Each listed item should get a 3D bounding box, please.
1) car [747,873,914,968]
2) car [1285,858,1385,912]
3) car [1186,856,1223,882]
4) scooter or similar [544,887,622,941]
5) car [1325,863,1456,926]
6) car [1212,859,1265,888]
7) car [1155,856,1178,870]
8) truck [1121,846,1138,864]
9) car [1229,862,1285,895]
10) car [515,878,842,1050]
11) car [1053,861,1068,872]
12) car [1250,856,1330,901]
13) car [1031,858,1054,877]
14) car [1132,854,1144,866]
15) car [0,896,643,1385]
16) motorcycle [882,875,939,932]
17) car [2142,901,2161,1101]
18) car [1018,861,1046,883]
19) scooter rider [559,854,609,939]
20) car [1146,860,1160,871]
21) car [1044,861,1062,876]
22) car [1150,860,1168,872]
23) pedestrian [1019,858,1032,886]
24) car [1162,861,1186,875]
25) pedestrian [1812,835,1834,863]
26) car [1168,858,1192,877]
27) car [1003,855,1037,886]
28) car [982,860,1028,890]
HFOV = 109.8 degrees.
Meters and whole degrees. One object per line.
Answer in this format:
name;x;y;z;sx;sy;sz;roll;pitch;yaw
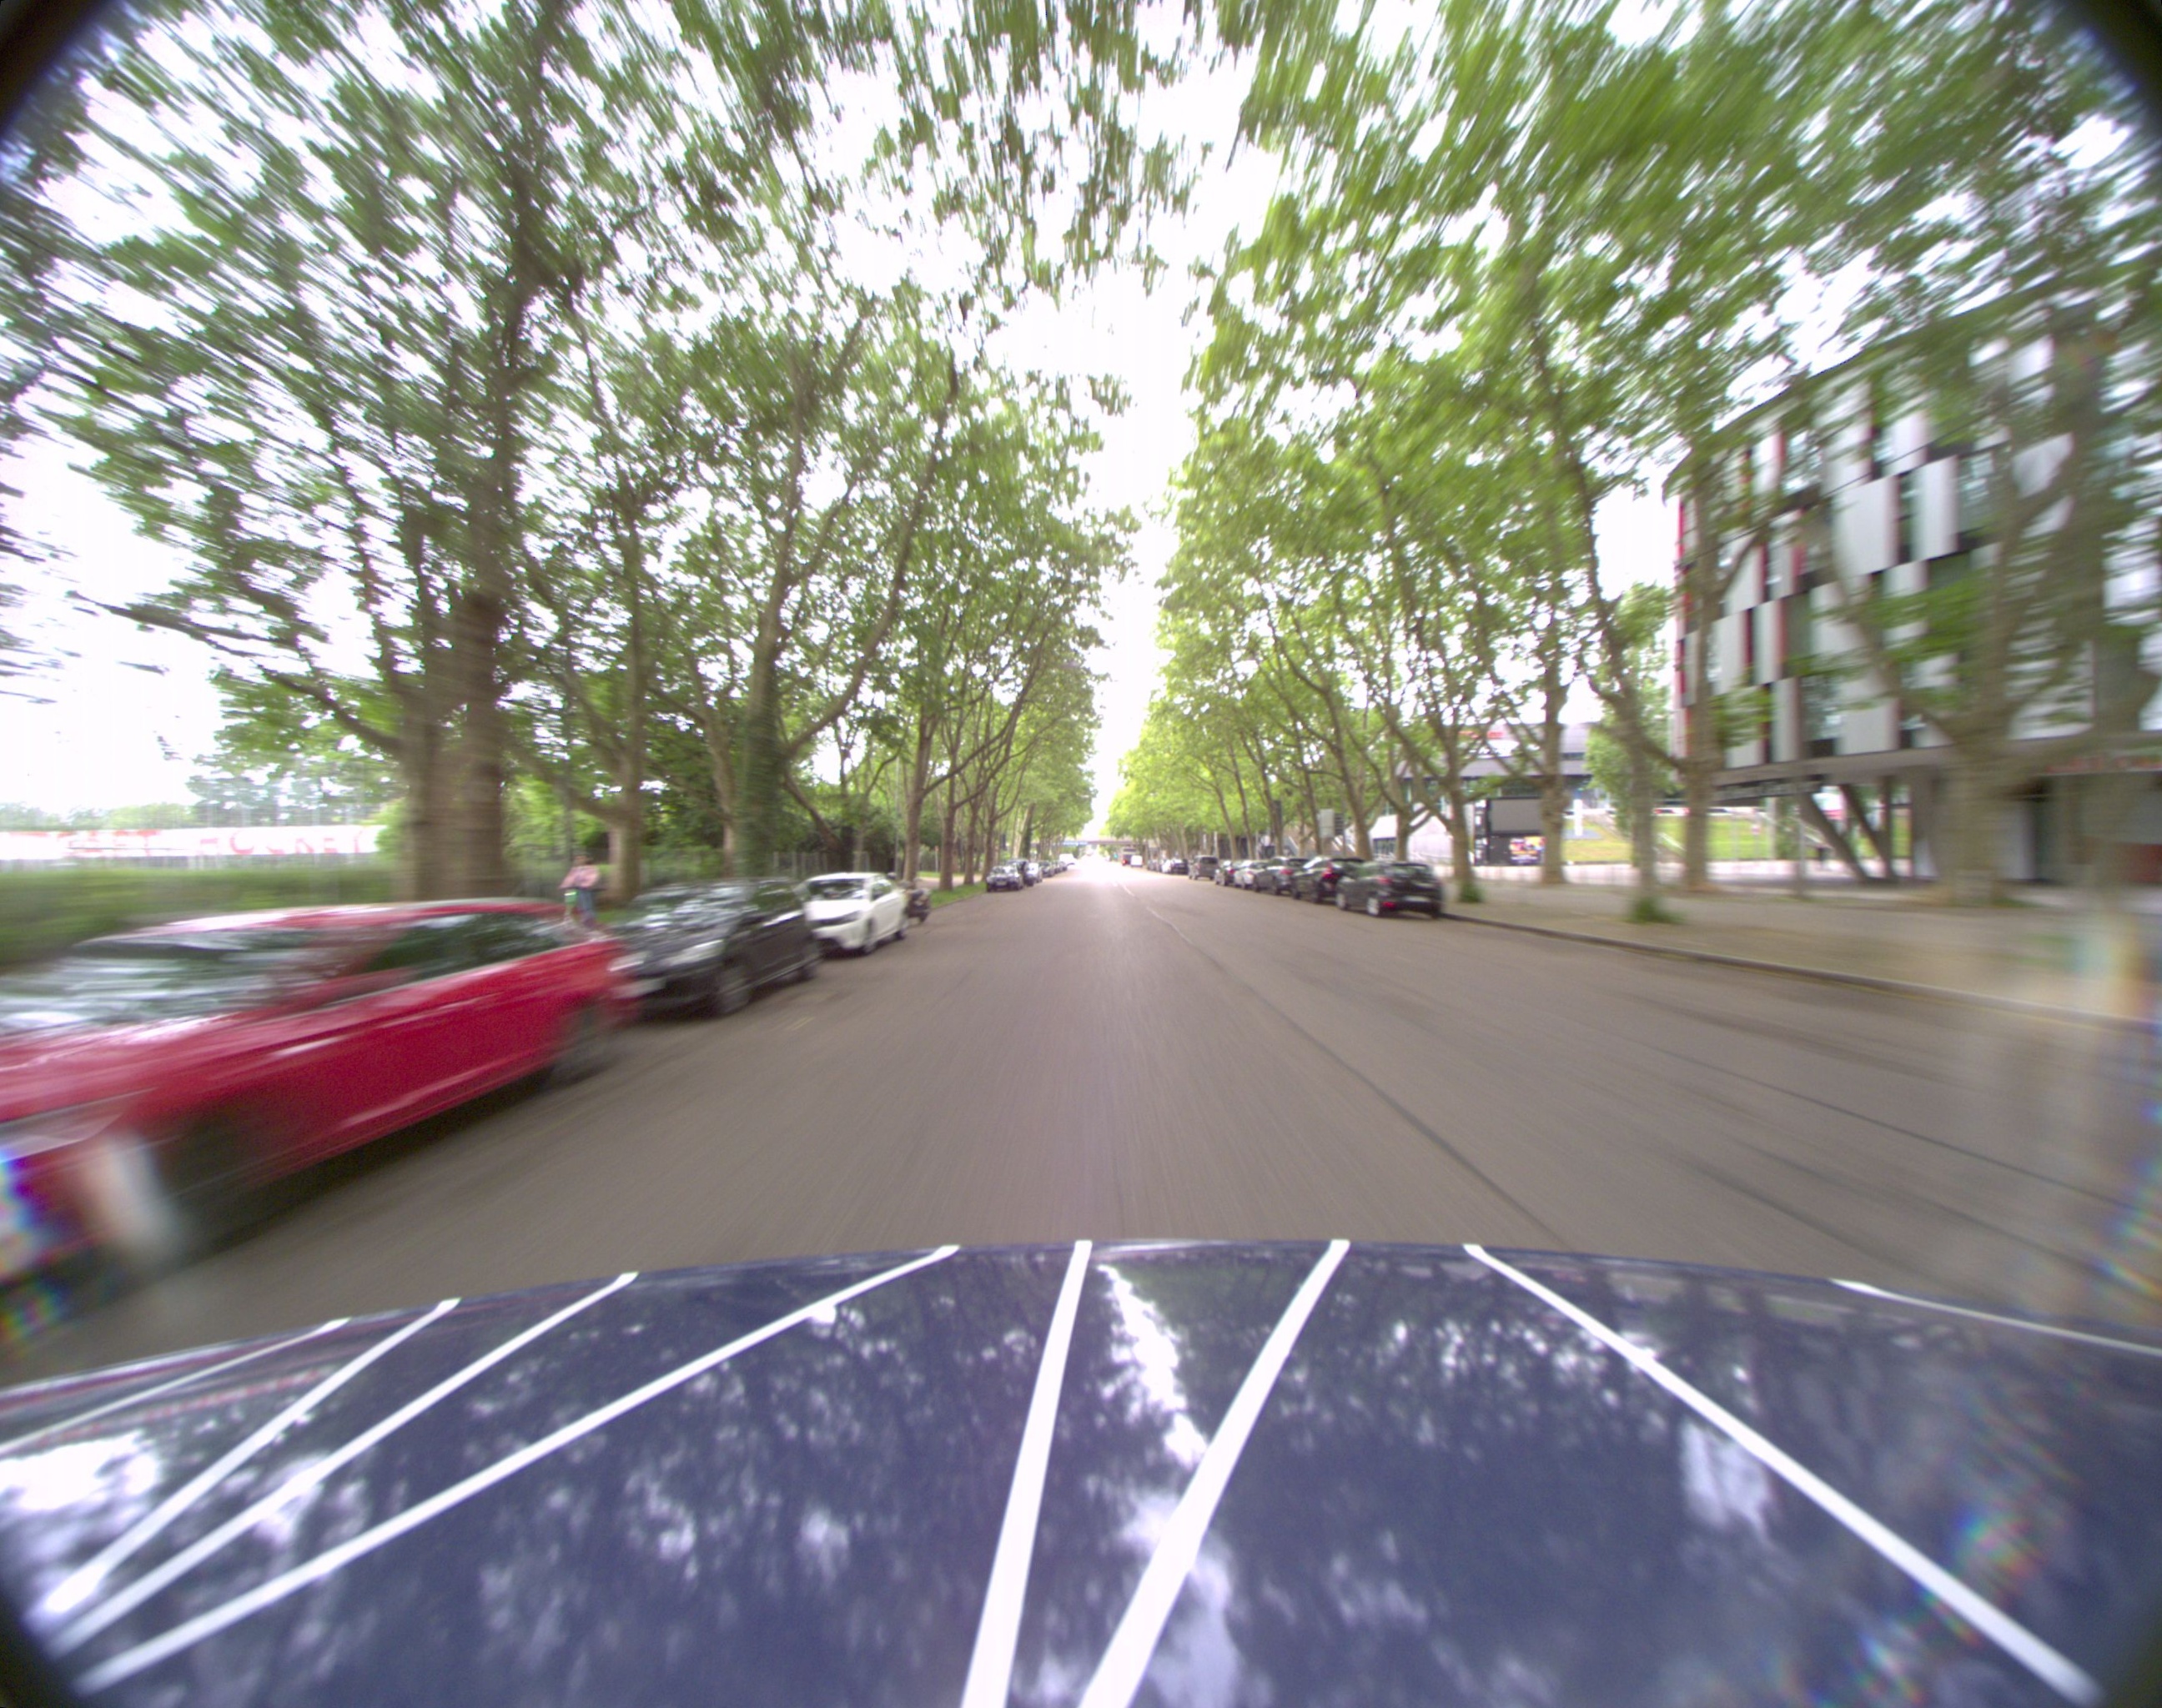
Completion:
car;-4.512;1.133;14.387;1.739;1.430;4.123;-1;0;1
car;8.676;0.987;26.460;1.942;1.633;4.929;2;0;2
car;9.099;1.055;56.315;1.900;1.785;4.612;2;0;0
scooter or similar;-10.700;1.276;16.386;0.682;1.032;1.467;2;0;1
car;8.397;1.025;21.083;1.838;1.485;4.443;2;0;1
car;8.791;1.070;42.860;2.088;1.521;5.146;0;-1;2
car;9.293;0.997;82.799;1.824;1.475;4.992;0;0;-2
truck;10.142;0.173;159.814;2.917;3.846;9.466;0;0;1
car;8.669;1.167;37.831;1.838;1.447;4.230;2;0;1
car;-4.593;1.148;9.496;1.734;1.461;4.080;-4;0;2
car;-2.847;1.735;106.230;1.734;1.468;4.983;-4;0;1
car;8.698;0.968;32.042;1.874;1.708;4.647;2;0;-2
car;-3.468;1.221;69.442;1.834;1.593;4.467;-4;0;0
car;9.669;1.093;128.928;2.063;1.950;5.468;0;-1;4
car;-4.598;1.113;4.275;1.721;1.430;4.628;-3;0;-3
motorcycle;-4.343;1.236;19.542;0.713;1.324;1.994;-2;0;9
car;8.495;1.058;3.020;1.908;1.394;4.751;2;0;1
car;-3.589;1.278;56.031;1.623;1.453;3.946;-4;0;2
scooter rider;-10.689;0.907;16.347;0.678;1.789;0.587;1;0;1
car;9.833;1.583;103.866;1.698;1.354;4.001;3;0;3
car;-3.235;1.645;87.947;1.781;1.544;4.396;-4;0;0
car;9.597;1.518;94.124;1.712;1.374;4.331;3;0;0
pedestrian;-3.262;1.070;44.754;0.635;1.617;0.742;-1;0;1
car;9.351;1.373;76.791;1.820;1.354;5.005;1;0;0
pedestrian;45.238;-0.278;46.346;0.644;1.680;0.693;-1;0;3
car;9.202;1.246;71.042;1.822;1.584;4.345;2;0;3
car;-3.967;1.042;48.757;1.848;1.772;4.445;-3;0;-8
car;-4.137;1.124;41.957;1.998;1.469;4.371;-3;0;1
